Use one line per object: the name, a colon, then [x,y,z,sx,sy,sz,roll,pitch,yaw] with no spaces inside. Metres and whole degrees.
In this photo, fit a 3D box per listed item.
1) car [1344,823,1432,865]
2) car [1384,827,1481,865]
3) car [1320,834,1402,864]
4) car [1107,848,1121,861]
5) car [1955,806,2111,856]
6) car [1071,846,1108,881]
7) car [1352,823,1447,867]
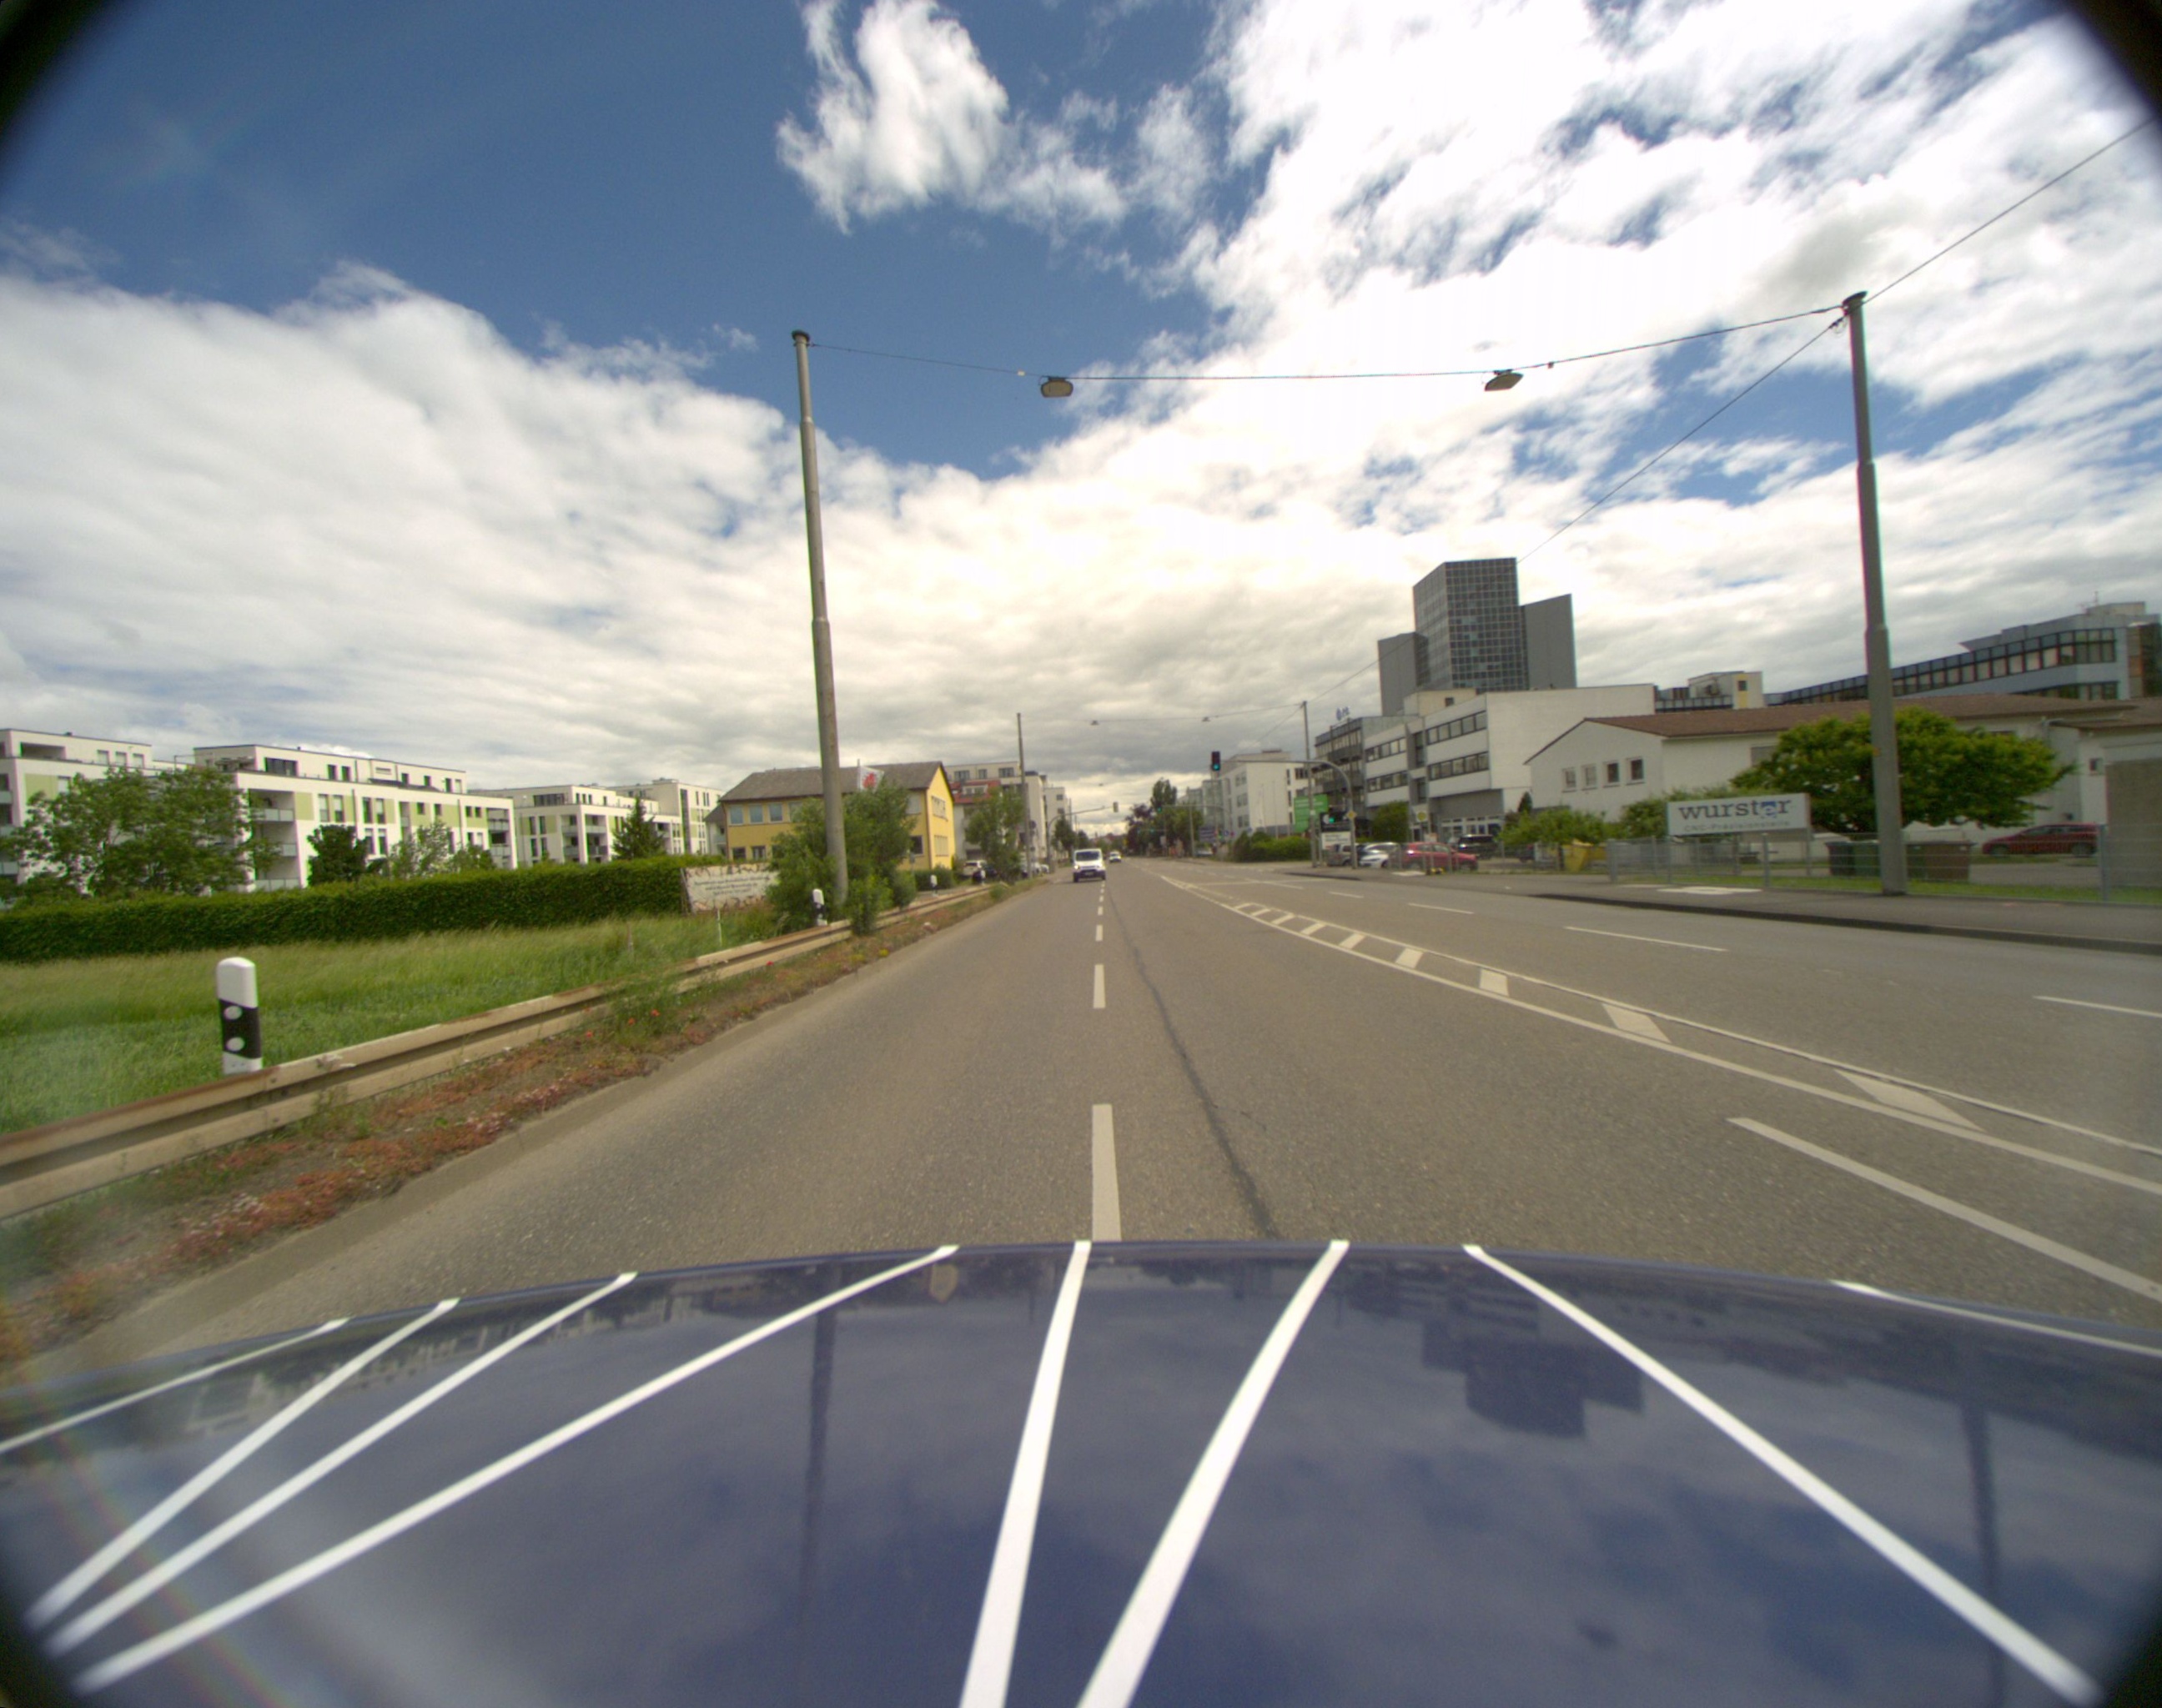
car: [16.820,-0.549,41.803,3.997,2.002,1.903,-3,1,-1]
car: [16.901,-0.386,36.626,3.803,1.602,1.835,-3,0,-4]
car: [16.276,-0.282,44.343,3.998,1.324,1.823,-6,0,-2]
car: [5.343,0.038,124.683,1.801,2.002,3.998,-3,1,-3]
car: [42.041,-0.968,33.700,1.641,2.002,3.996,-4,1,-9]
car: [0.467,0.534,48.145,1.999,1.907,5.880,-3,1,-2]
car: [16.459,-0.478,39.388,3.997,2.002,1.919,-3,1,-2]
